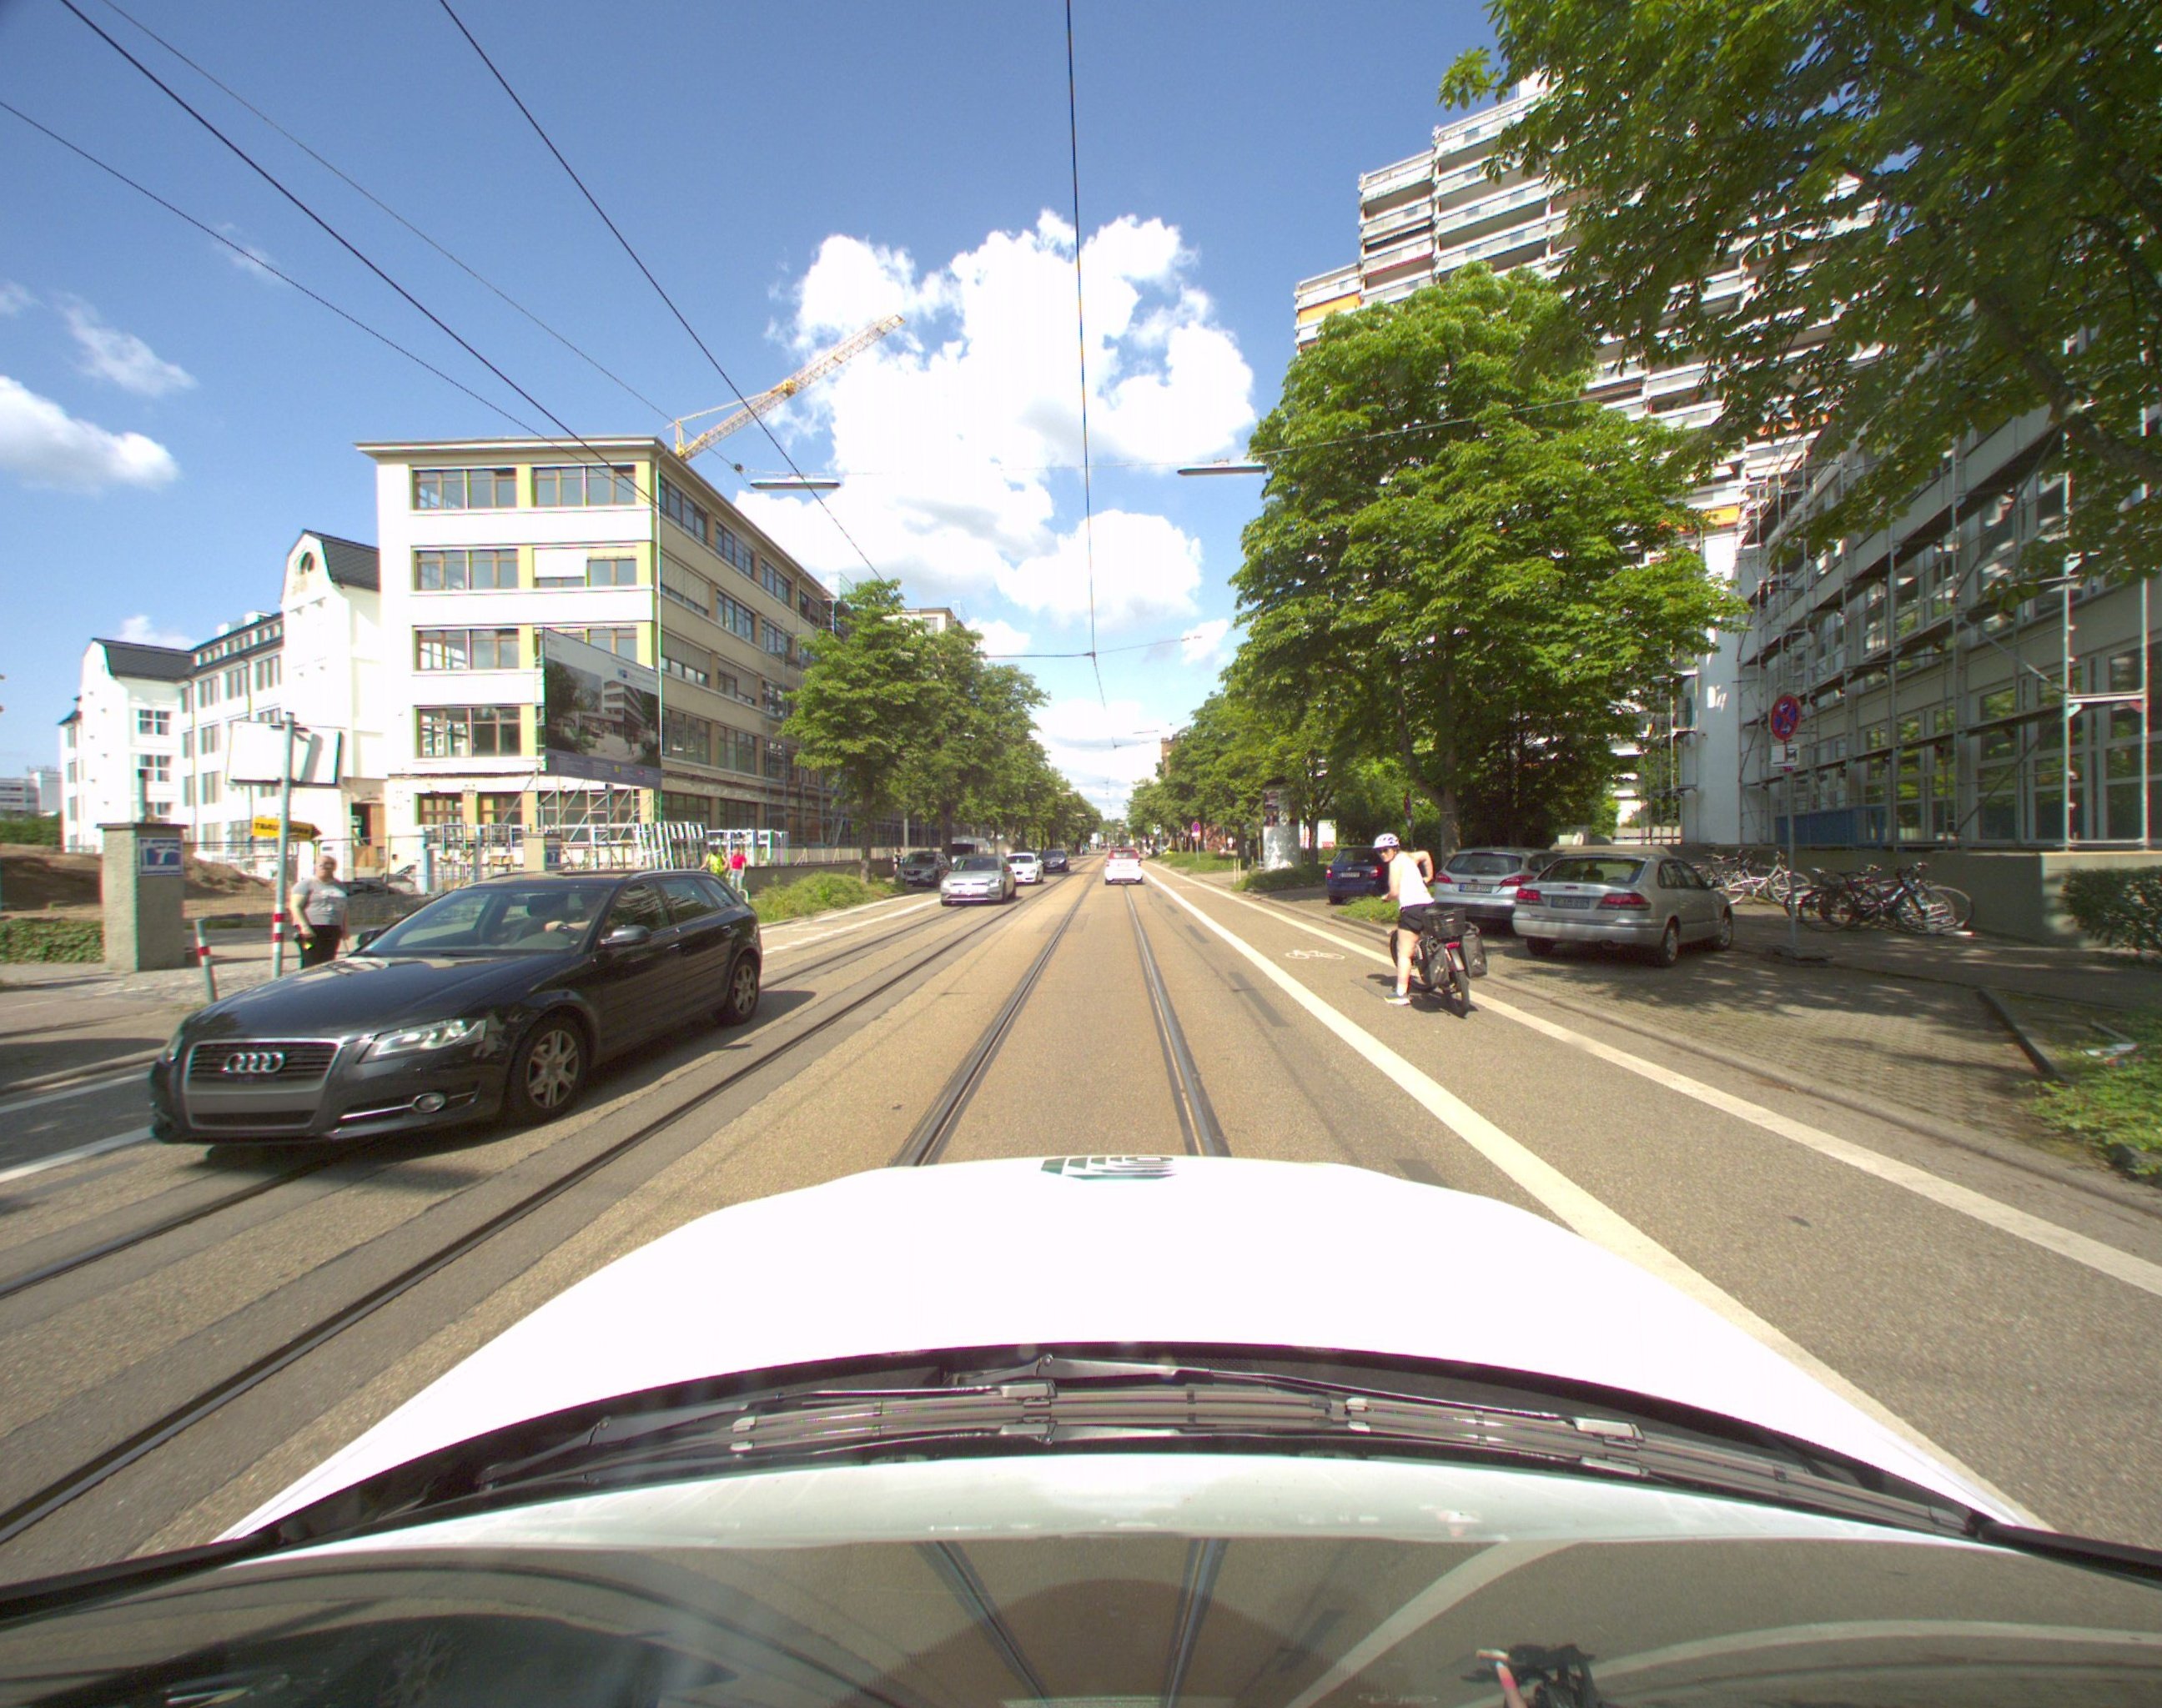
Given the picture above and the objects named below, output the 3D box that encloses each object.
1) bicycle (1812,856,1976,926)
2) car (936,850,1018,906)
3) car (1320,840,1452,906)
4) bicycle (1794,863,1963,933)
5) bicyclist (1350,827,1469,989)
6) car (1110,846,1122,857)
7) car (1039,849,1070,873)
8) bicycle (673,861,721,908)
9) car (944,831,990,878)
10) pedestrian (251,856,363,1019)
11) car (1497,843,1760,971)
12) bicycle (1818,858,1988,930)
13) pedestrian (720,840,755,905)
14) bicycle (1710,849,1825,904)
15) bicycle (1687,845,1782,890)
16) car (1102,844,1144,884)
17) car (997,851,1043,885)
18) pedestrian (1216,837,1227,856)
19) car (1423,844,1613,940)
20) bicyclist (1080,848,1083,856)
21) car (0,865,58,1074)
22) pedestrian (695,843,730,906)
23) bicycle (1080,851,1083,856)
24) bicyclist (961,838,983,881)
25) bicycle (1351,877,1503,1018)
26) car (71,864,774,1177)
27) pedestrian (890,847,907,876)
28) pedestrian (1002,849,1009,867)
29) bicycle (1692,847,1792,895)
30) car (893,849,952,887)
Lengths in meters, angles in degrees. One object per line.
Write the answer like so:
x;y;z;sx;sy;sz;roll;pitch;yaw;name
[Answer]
13.663;0.621;13.755;1.877;1.096;0.454;-2;0;33;bicycle
-2.958;0.651;23.917;1.767;1.416;3.853;-3;0;1;car
7.983;0.442;21.150;4.023;1.486;1.596;-2;0;-44;car
12.798;0.696;13.142;1.877;1.053;0.454;-2;0;33;bicycle
3.310;0.512;8.308;0.885;1.528;1.087;0;0;8;bicyclist
5.016;-0.387;116.931;1.659;1.492;3.622;-1;0;1;car
-1.748;0.426;54.548;1.794;1.508;4.537;0;0;1;car
-11.154;0.861;23.707;0.444;1.286;1.740;-1;0;4;bicycle
-6.740;0.000;48.645;1.762;2.639;5.325;0;0;2;car
-8.212;0.846;8.677;0.730;1.637;0.685;1;0;-32;pedestrian
7.704;0.586;11.324;4.262;1.420;1.705;-1;1;-36;car
13.390;0.650;13.331;1.877;1.096;0.454;-2;0;33;bicycle
-10.021;0.534;23.779;0.706;1.831;0.661;2;1;-4;pedestrian
14.639;0.484;17.418;1.809;1.095;0.454;-2;3;33;bicycle
16.400;0.336;20.497;1.809;1.095;0.454;-1;1;33;bicycle
1.778;0.385;35.398;1.659;1.624;3.621;-1;1;1;car
-2.768;0.603;36.469;1.686;1.405;4.213;-1;0;-9;car
15.074;-0.831;87.609;0.974;2.013;1.093;0;0;1;pedestrian
7.814;0.568;14.435;3.825;1.474;1.634;0;1;-40;car
0.084;-0.440;166.690;0.656;1.579;0.946;0;0;0;bicyclist
-8.719;0.842;3.944;1.744;1.516;4.590;0;0;-1;car
-10.706;0.591;23.659;0.706;1.793;0.661;0;0;-4;pedestrian
0.074;-0.158;166.851;0.616;0.973;1.717;-1;0;1;bicycle
-5.258;0.263;39.288;0.873;2.014;0.834;-3;-1;1;bicyclist
3.362;0.840;8.157;0.870;1.126;2.141;0;1;8;bicycle
-3.876;0.811;5.859;1.717;1.376;4.001;-2;0;1;car
-10.401;0.424;46.421;0.761;1.620;0.594;0;0;2;pedestrian
-8.680;0.472;93.586;0.802;2.013;0.484;-1;0;-7;pedestrian
15.762;0.403;19.481;1.809;1.095;0.454;-1;1;33;bicycle
-7.310;0.600;37.978;1.797;1.662;4.105;0;0;2;car
